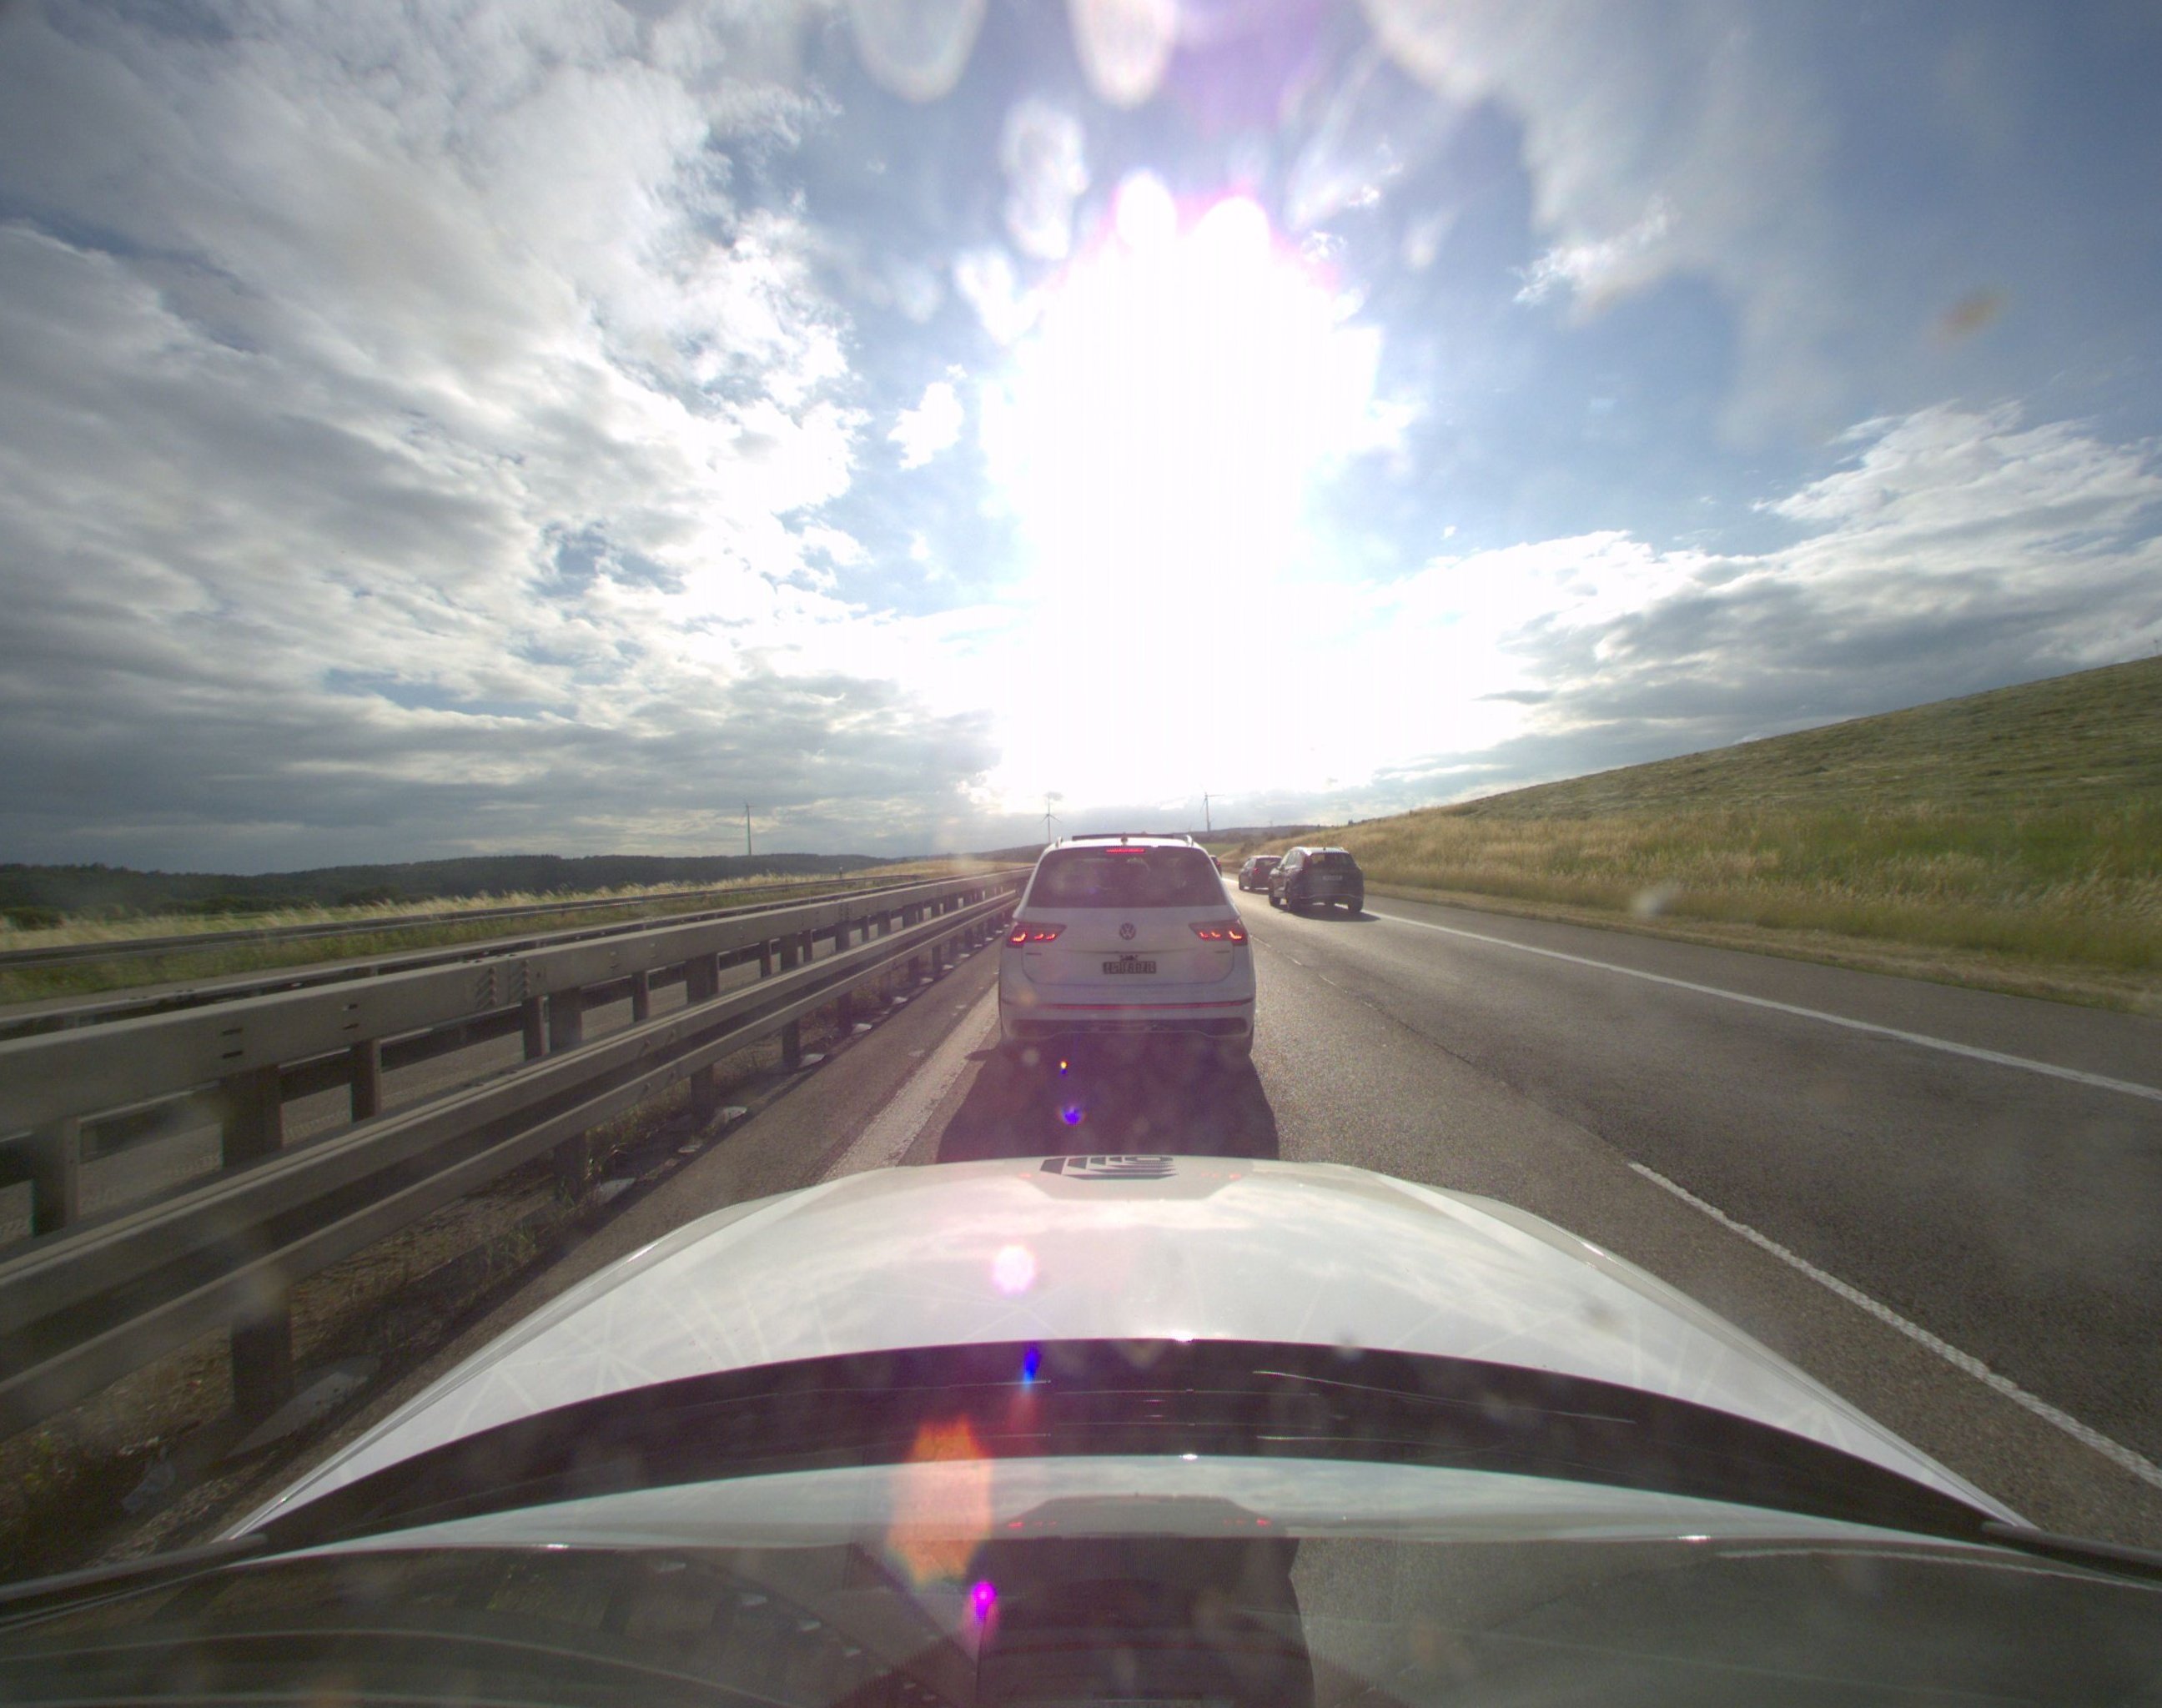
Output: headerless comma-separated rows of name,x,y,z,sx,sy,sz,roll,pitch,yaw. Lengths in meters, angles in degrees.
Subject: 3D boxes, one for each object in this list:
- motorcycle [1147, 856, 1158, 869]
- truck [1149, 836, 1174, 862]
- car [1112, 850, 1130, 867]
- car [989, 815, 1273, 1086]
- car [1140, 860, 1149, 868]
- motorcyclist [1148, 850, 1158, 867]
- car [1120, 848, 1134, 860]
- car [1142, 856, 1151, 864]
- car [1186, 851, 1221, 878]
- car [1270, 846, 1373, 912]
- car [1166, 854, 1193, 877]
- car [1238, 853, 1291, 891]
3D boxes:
motorcycle,6.618,0.813,75.251,0.892,1.190,2.257,-1,0,1
truck,11.656,-0.756,118.190,3.170,3.593,11.142,-1,0,4
car,3.944,0.438,80.411,1.697,1.650,4.002,-1,0,2
car,0.382,0.624,7.153,1.763,1.675,4.002,-1,0,2
car,12.677,2.009,162.567,1.697,1.546,4.002,-1,0,2
motorcyclist,6.610,0.402,75.210,0.846,1.560,0.934,-1,-1,1
car,6.223,0.007,110.145,1.697,1.546,4.002,-1,0,2
car,13.995,1.333,174.960,1.697,1.546,4.002,-1,0,2
car,7.569,0.651,50.577,1.697,1.546,4.002,-1,0,2
car,6.322,0.622,21.878,1.813,1.601,4.239,0,0,4
car,7.605,0.870,63.051,1.697,1.650,4.002,-1,0,2
car,7.347,0.697,32.873,1.598,1.420,3.677,-1,0,5
